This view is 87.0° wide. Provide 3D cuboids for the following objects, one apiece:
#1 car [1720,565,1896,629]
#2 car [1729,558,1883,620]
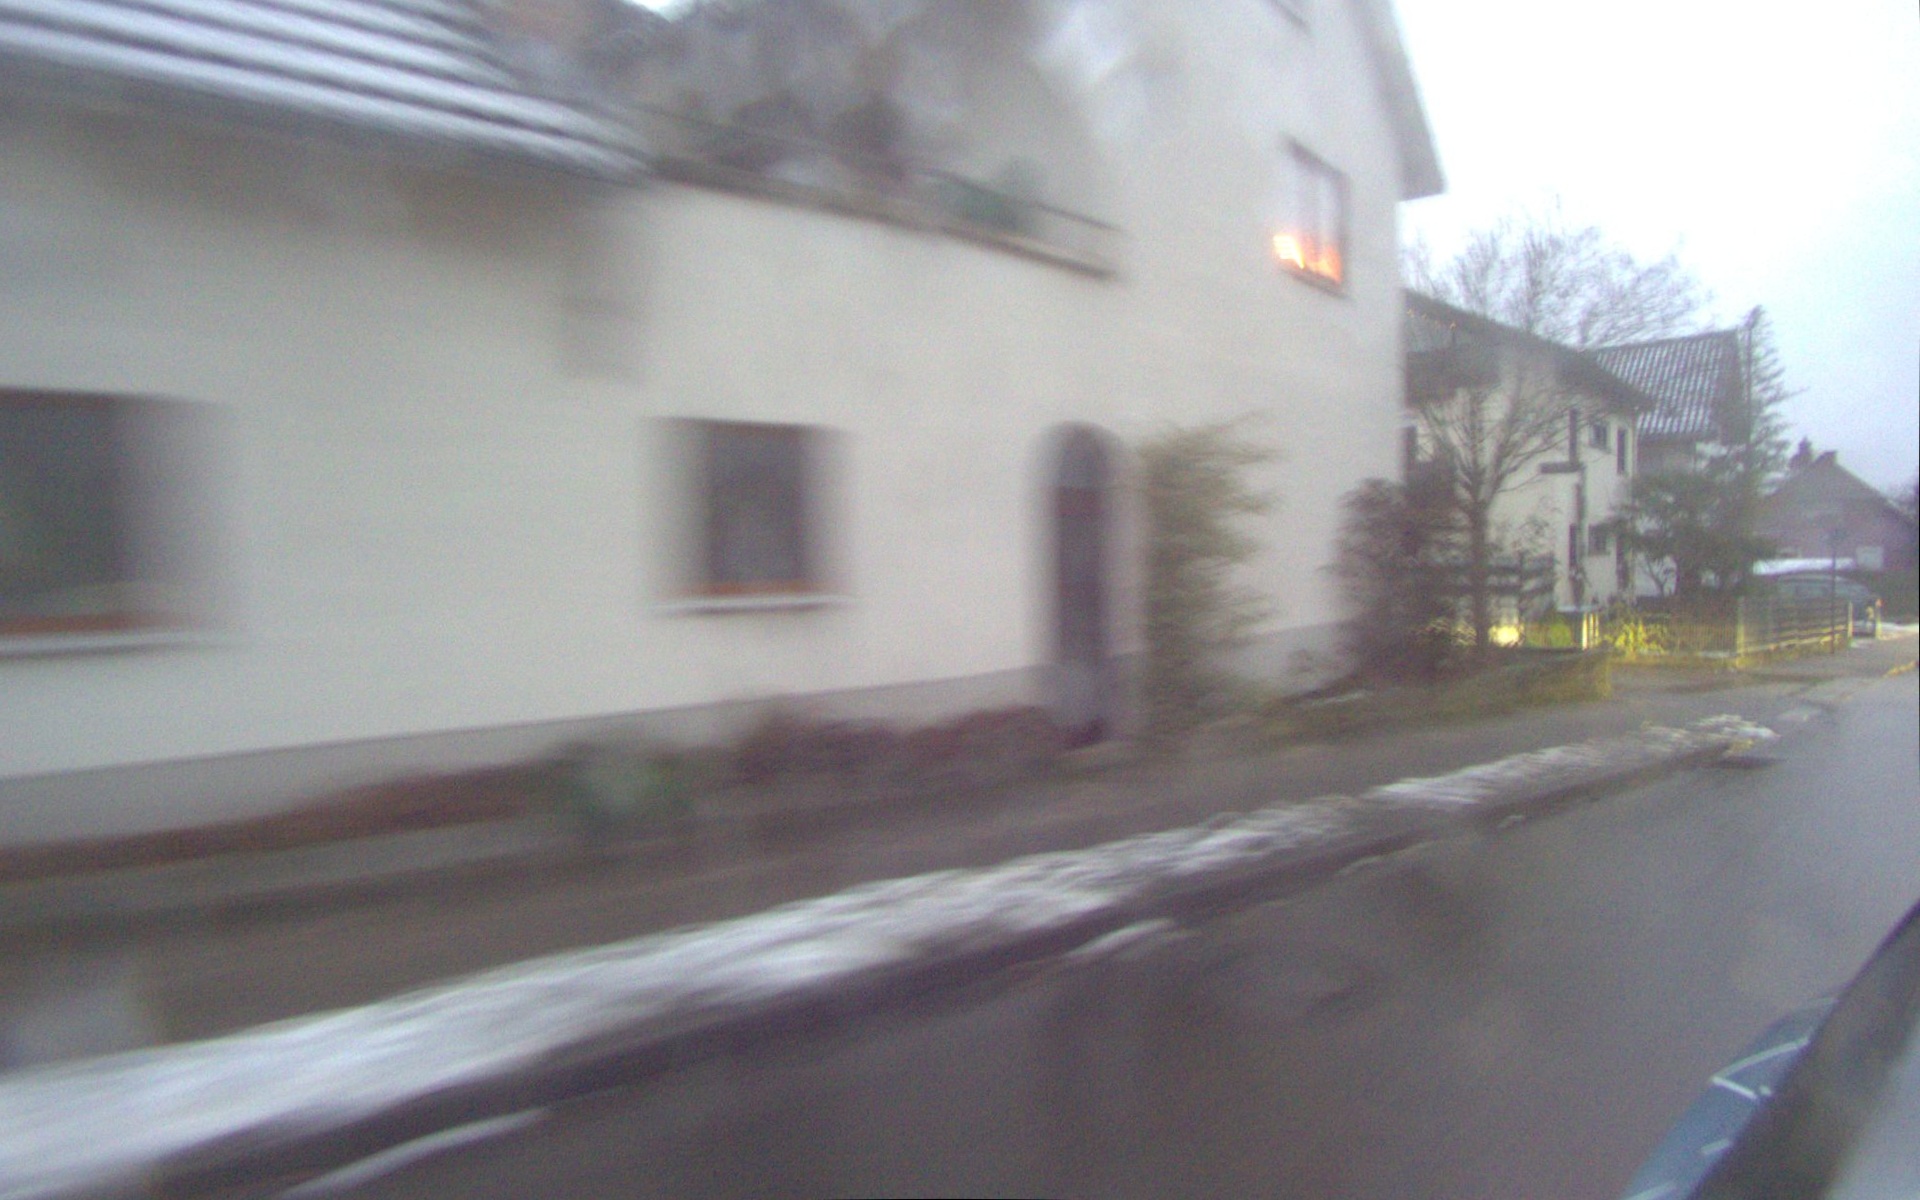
[{"bbox_3d":[25.820,-0.144,30.895,3.986,1.816,1.969,2,2,43],"label":"car"},{"bbox_3d":[29.319,-0.425,35.159,3.986,2.038,1.969,2,2,43],"label":"car"}]
